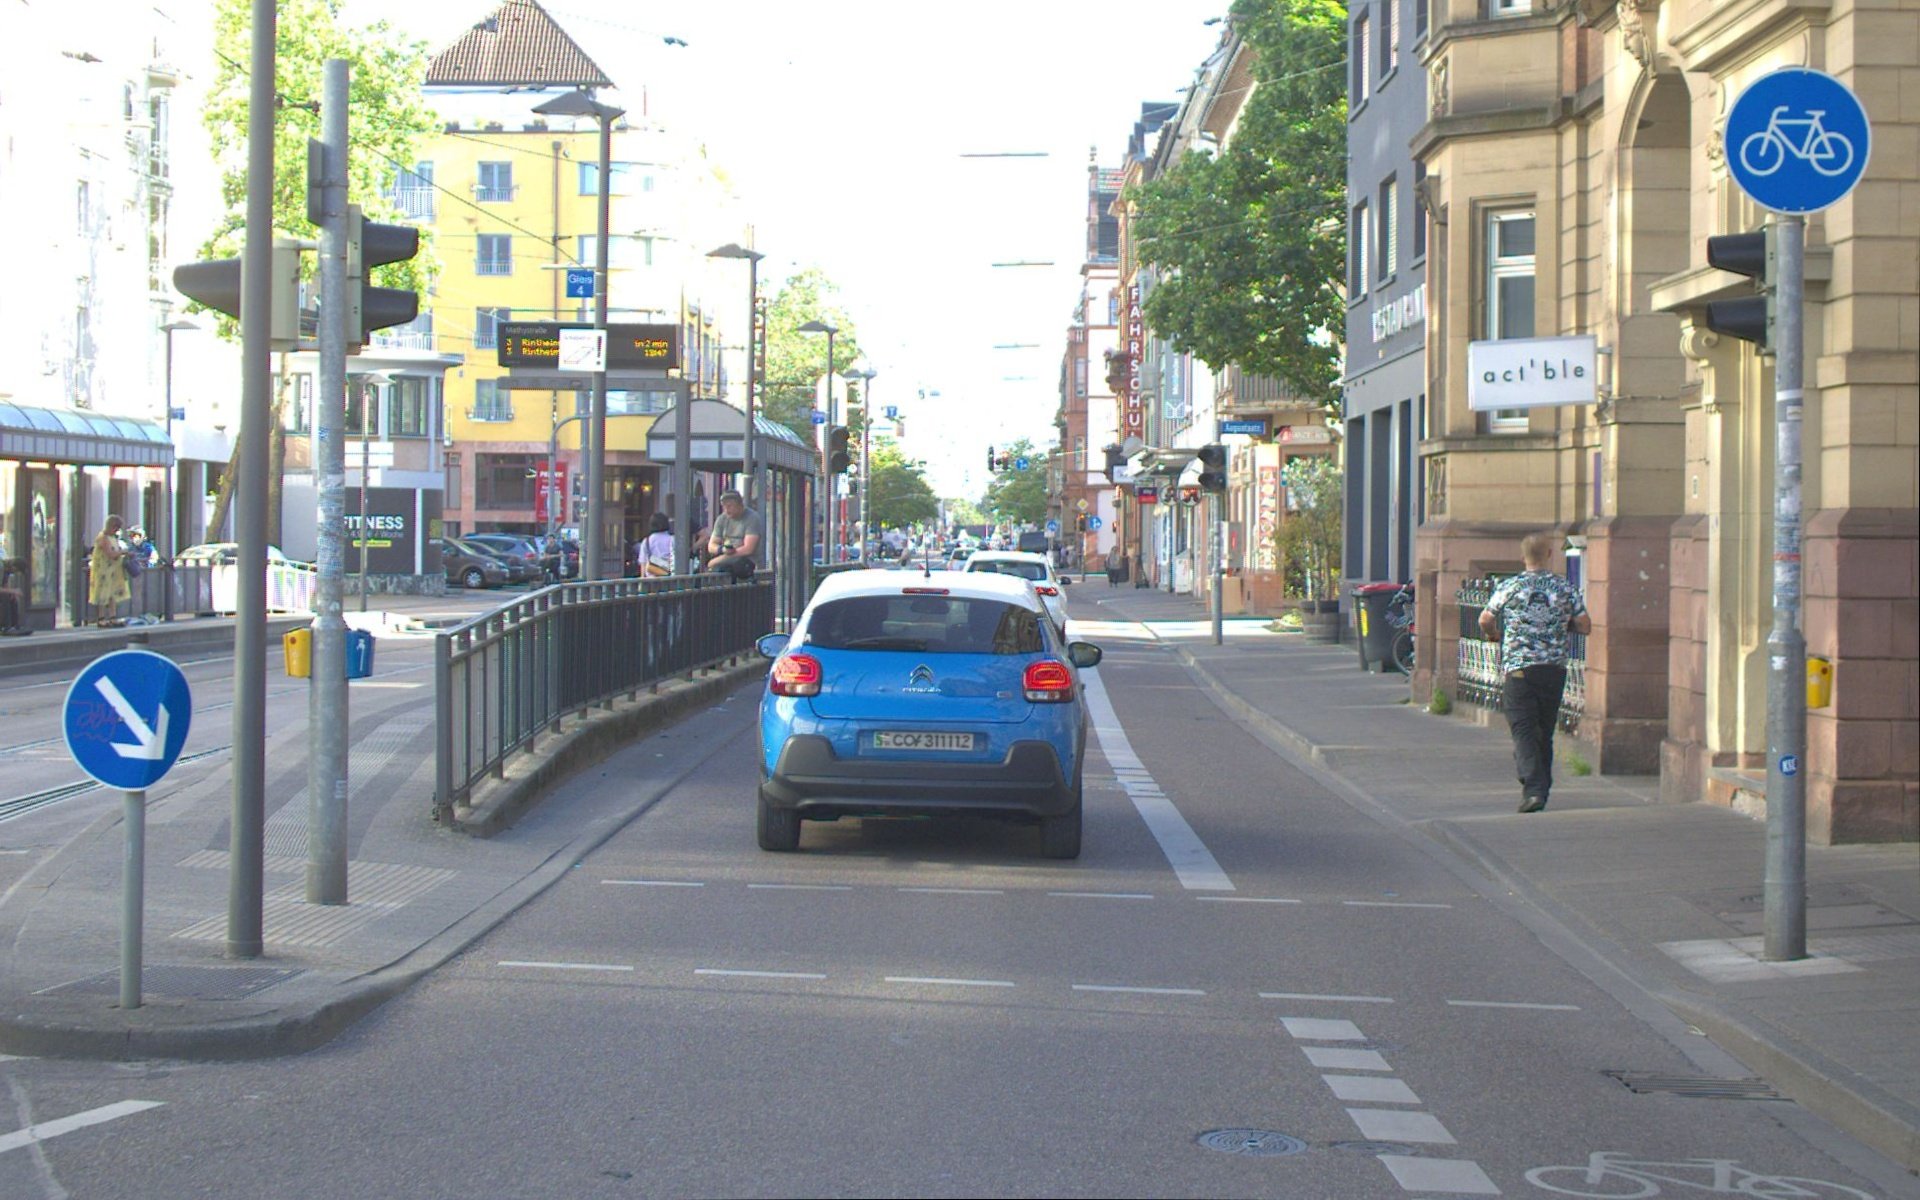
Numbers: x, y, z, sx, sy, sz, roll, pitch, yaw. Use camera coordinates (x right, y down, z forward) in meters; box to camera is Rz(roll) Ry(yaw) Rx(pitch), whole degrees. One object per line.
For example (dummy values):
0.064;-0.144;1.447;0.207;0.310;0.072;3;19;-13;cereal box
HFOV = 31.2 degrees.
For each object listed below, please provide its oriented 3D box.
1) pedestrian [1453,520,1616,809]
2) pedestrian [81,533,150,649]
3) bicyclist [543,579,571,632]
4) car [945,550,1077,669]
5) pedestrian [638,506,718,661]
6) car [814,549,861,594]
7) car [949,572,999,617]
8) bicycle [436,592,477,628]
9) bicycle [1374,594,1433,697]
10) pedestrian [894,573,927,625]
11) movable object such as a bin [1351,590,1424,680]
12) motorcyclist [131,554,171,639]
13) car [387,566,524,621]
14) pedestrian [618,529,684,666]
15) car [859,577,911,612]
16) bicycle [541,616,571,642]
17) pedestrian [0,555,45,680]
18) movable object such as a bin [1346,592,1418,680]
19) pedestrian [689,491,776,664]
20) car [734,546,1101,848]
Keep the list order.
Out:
3.552;0.382;21.325;0.780;1.744;1.093;1;1;-2;pedestrian
-11.449;-0.118;46.615;0.731;1.554;0.743;1;0;0;pedestrian
-11.724;0.162;100.011;0.672;1.552;0.778;0;-1;2;bicyclist
0.821;0.186;55.226;1.993;1.737;3.999;2;-2;1;car
-3.255;-0.181;39.663;0.718;1.771;0.564;-1;-1;37;pedestrian
-4.779;-1.095;134.617;1.752;1.610;4.828;-1;-1;-1;car
0.595;-0.213;144.543;1.993;1.737;3.999;2;-2;1;car
-14.351;0.297;98.009;0.679;0.999;2.686;0;0;2;bicycle
4.991;0.512;38.755;0.459;1.119;1.773;-1;-1;1;bicycle
-1.577;-0.039;109.578;0.838;1.648;0.697;1;-1;-27;pedestrian
5.167;0.425;41.576;0.748;1.033;0.753;-3;-1;1;movable object such as a bin
-14.535;-0.053;61.777;0.487;1.497;0.722;2;-2;2;motorcyclist
-15.582;-0.186;106.320;3.986;1.669;1.958;0;-1;-2;car
-3.518;-0.024;39.191;0.586;1.556;0.468;-1;-1;37;pedestrian
-3.288;-0.238;151.764;1.951;1.481;3.999;-1;-1;4;car
-11.745;0.852;99.935;0.566;0.755;1.937;0;-1;2;bicycle
-11.794;0.211;42.522;0.731;1.522;0.743;1;0;0;pedestrian
5.191;0.440;42.339;0.748;1.033;0.753;-3;-1;1;movable object such as a bin
-2.285;-0.213;34.644;0.636;1.692;0.933;1;-2;8;pedestrian
-0.177;0.500;18.920;1.781;1.446;3.654;2;-1;1;car
